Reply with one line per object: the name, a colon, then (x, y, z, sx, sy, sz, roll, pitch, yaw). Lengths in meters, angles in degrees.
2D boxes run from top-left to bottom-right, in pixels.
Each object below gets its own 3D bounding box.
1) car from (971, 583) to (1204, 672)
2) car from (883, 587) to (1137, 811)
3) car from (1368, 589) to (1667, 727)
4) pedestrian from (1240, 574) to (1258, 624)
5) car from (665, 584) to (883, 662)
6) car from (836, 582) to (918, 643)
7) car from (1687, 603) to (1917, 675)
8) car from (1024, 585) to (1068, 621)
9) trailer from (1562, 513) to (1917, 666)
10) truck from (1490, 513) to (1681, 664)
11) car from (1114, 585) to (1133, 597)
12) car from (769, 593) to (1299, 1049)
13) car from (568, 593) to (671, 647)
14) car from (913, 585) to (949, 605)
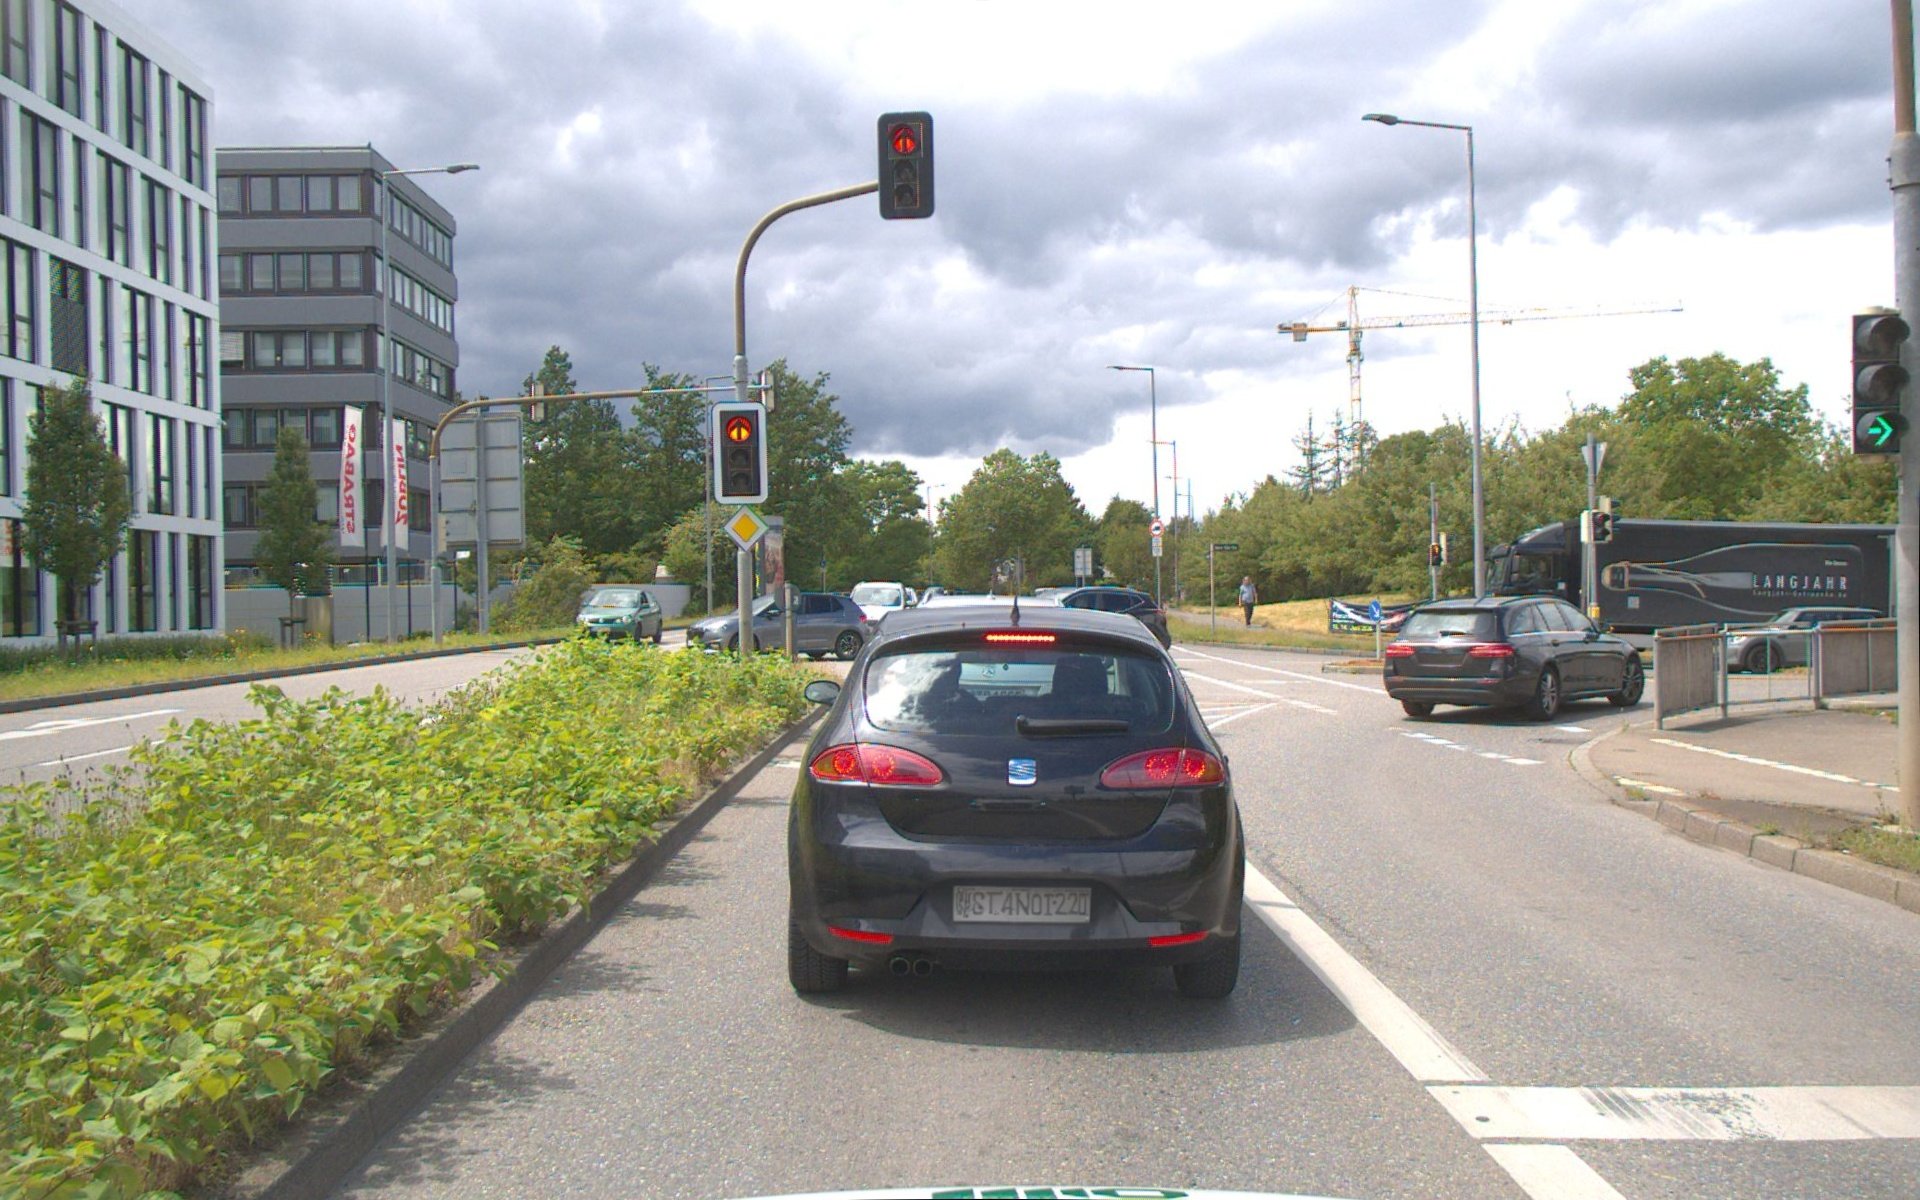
car: (2.563, 0.509, 33.174, 4.252, 1.644, 1.983, -1, 0, -27)
car: (0.268, 0.673, 13.353, 1.738, 1.517, 3.580, -1, 0, -3)
car: (7.276, 0.648, 21.228, 1.844, 1.466, 5.172, -1, 1, 40)
pedestrian: (10.185, -0.042, 58.301, 0.547, 1.756, 0.588, 0, 0, 0)
car: (-4.005, 0.472, 35.724, 4.261, 1.552, 1.979, -1, 0, -31)
car: (-2.287, 0.314, 46.463, 1.952, 1.624, 4.001, 0, 0, 2)
car: (17.848, 0.800, 35.221, 3.902, 1.445, 2.001, 0, 0, 5)
car: (3.895, 0.123, 75.012, 1.952, 1.557, 4.002, 0, 0, 3)
trailer: (18.409, -0.266, 39.358, 7.424, 3.519, 2.001, 0, 0, 5)
truck: (14.933, -0.278, 39.678, 3.902, 3.530, 2.001, 0, 0, 5)
car: (18.036, -1.003, 182.688, 1.951, 1.375, 4.003, 0, 0, 7)
car: (0.219, 0.723, 7.227, 1.737, 1.477, 3.581, 0, 0, -1)
car: (-9.017, 0.498, 44.073, 1.953, 1.375, 3.999, 0, 0, -1)
car: (-1.995, -0.335, 113.967, 1.951, 1.375, 4.003, 0, 0, 7)
